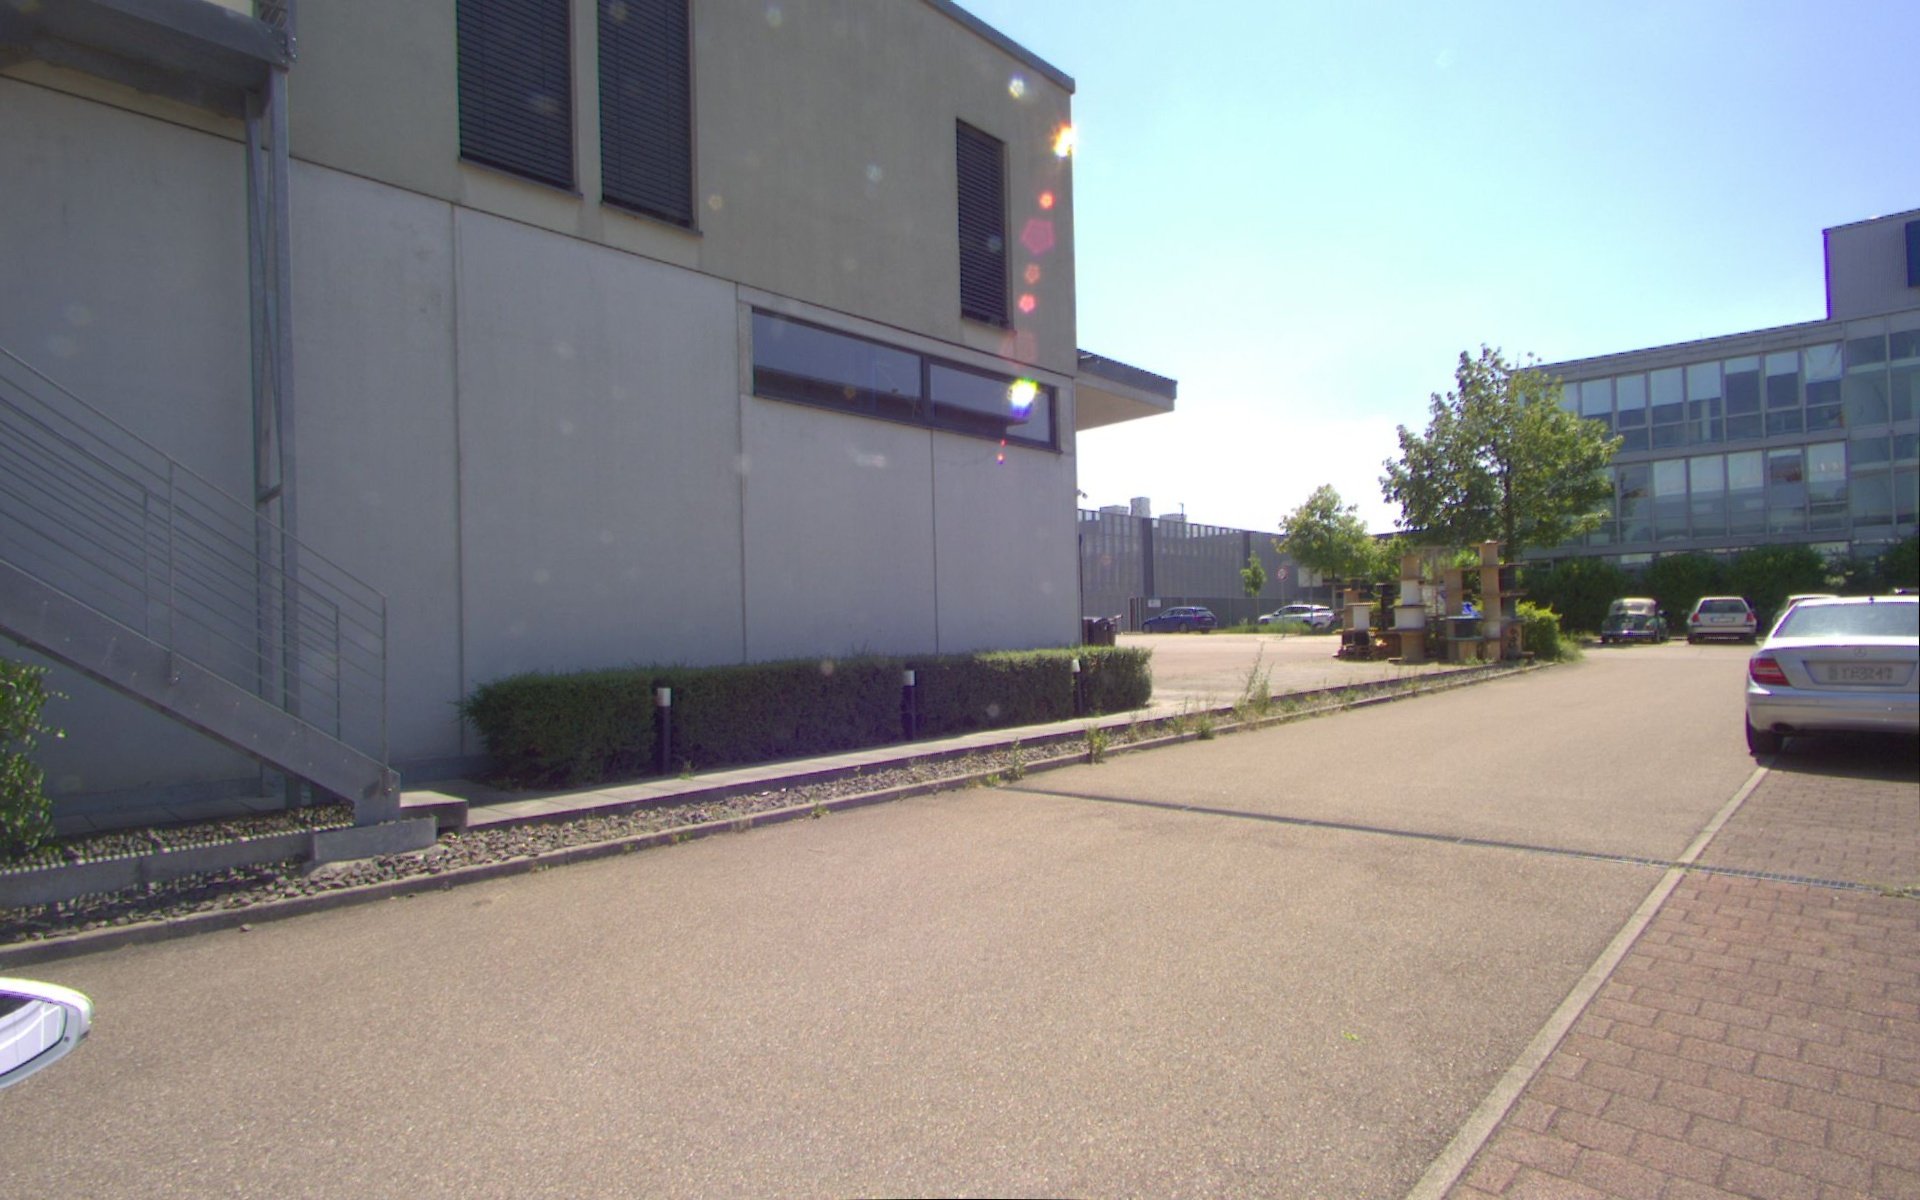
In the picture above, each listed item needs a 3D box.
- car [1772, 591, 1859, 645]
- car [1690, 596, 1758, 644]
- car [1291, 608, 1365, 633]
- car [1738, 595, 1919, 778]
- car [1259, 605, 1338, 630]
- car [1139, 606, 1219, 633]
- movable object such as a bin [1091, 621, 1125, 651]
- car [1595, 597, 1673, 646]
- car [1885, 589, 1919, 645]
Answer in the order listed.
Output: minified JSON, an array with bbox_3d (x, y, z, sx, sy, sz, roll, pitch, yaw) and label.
[{"bbox_3d":[26.395,0.580,30.998,1.727,1.538,3.975,-1,-2,36],"label":"car"},{"bbox_3d":[24.450,0.664,32.139,1.653,1.459,3.975,-1,-2,36],"label":"car"},{"bbox_3d":[22.680,1.288,61.830,1.727,1.433,4.042,1,-2,-33],"label":"car"},{"bbox_3d":[8.690,0.723,9.462,1.712,1.455,3.683,-2,-2,44],"label":"car"},{"bbox_3d":[20.288,1.089,60.231,1.726,1.433,4.422,1,-2,-33],"label":"car"},{"bbox_3d":[11.989,1.096,55.076,1.726,1.433,4.423,1,-2,-32],"label":"car"},{"bbox_3d":[4.946,1.212,33.515,0.809,0.993,0.803,-1,-1,43],"label":"movable object such as a bin"},{"bbox_3d":[22.630,0.720,33.552,1.729,1.538,3.969,-1,-2,40],"label":"car"},{"bbox_3d":[27.932,0.489,28.924,1.731,1.538,3.965,-2,-2,43],"label":"car"}]
